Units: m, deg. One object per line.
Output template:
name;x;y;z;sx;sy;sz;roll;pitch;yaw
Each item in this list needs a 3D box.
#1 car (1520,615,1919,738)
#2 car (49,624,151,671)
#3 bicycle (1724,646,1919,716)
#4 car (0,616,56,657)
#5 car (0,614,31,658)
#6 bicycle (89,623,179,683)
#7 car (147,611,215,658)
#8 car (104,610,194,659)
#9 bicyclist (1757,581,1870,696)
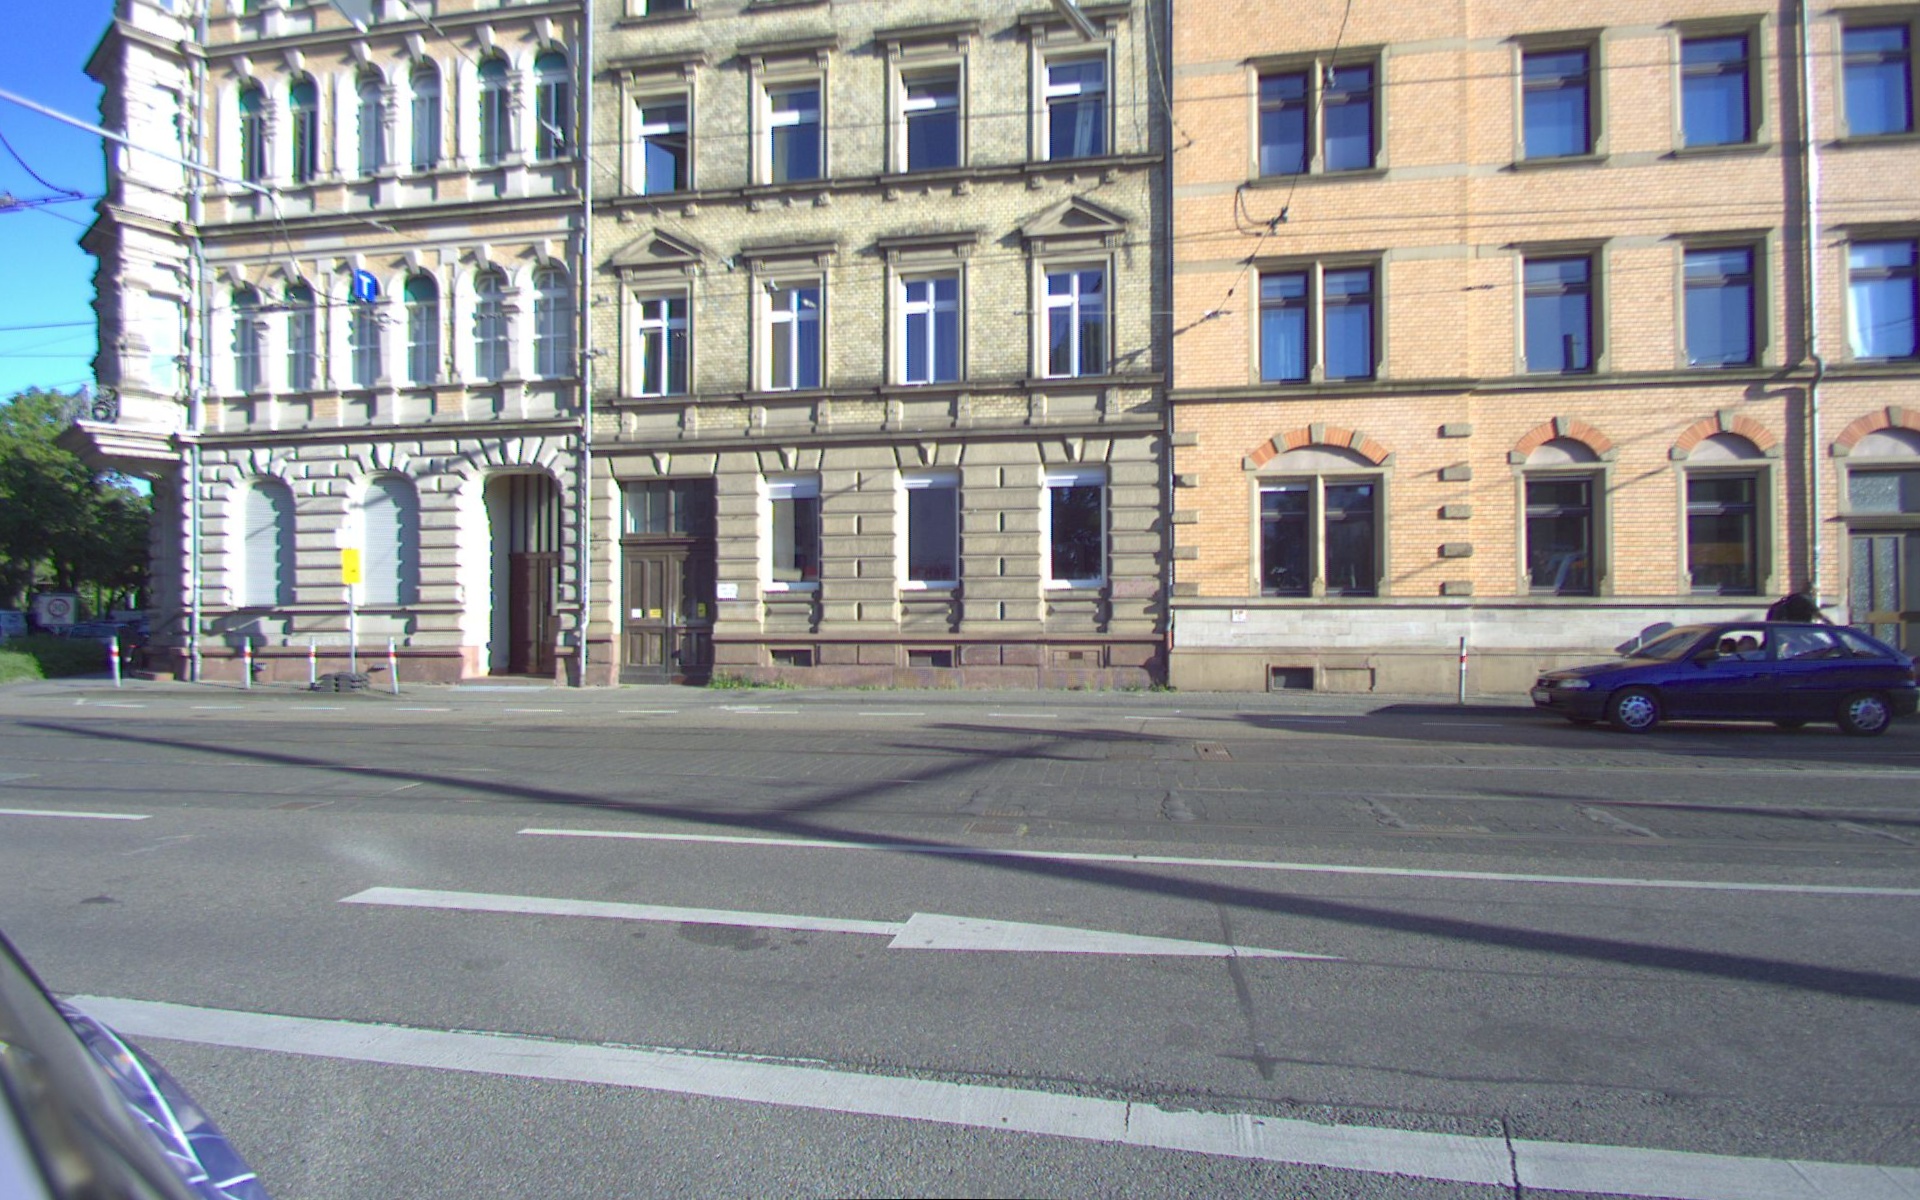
car;9.626;0.904;12.716;4.119;1.390;1.808;0;-2;12
car;-27.674;1.475;32.690;1.708;1.425;3.445;1;-2;-27
bicycle;12.406;1.152;14.617;2.066;0.946;0.646;-1;-2;13
car;-43.592;1.608;44.781;4.974;1.822;2.005;0;-1;-14
car;-42.151;1.499;41.965;4.974;1.801;2.005;0;-1;-14
bicycle;-18.722;1.173;23.020;0.634;1.276;2.696;0;-1;-18
car;-35.454;1.546;46.168;1.966;2.029;4.649;1;-2;-31
car;-29.468;1.239;36.892;1.708;1.674;4.013;1;-2;-27
bicyclist;12.343;0.554;14.659;1.025;1.625;0.634;-1;-2;13
